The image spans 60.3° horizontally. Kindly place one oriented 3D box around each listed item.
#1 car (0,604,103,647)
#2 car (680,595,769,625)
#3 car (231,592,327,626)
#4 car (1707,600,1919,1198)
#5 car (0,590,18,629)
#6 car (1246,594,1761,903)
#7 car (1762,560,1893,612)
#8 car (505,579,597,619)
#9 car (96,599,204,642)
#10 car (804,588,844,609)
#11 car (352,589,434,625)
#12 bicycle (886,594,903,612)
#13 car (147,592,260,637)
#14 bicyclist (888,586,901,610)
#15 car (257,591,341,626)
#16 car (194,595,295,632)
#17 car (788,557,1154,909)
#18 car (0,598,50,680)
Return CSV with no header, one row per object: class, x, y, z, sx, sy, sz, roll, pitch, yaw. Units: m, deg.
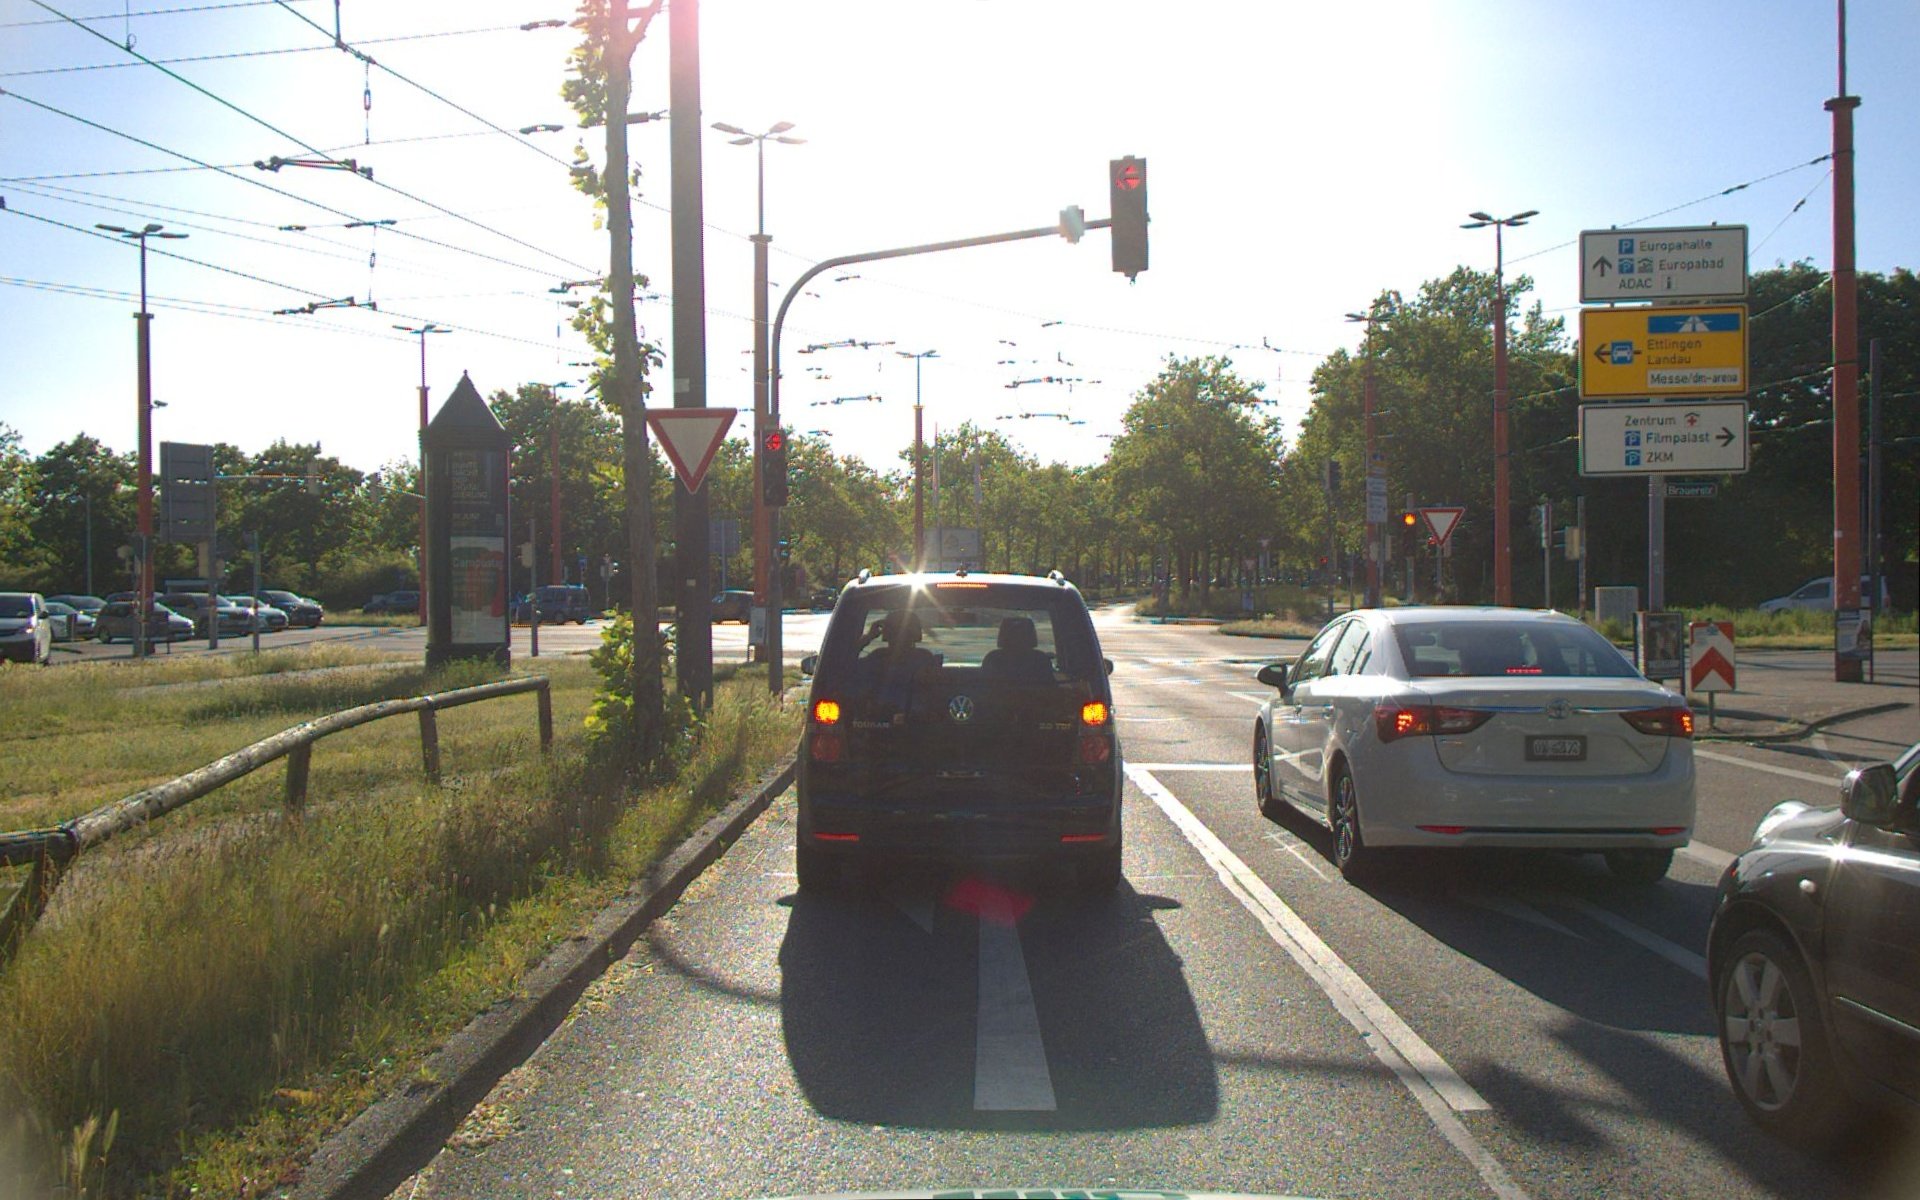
car,-34.937,0.967,63.260,4.536,1.546,1.654,0,0,30
car,-11.391,0.471,80.074,4.036,1.427,1.656,0,0,25
car,-29.467,0.370,71.556,4.060,1.440,1.542,0,0,26
car,3.135,0.743,3.493,1.544,1.465,3.441,1,0,0
car,-42.983,0.380,71.642,4.541,1.676,1.753,0,0,30
car,3.014,0.729,10.190,1.762,1.465,4.326,1,0,0
car,30.539,-0.512,58.345,4.038,1.780,1.655,0,0,26
car,-19.567,-0.059,79.072,4.036,1.822,1.798,0,0,24
car,-29.543,0.728,60.307,3.755,1.466,1.655,0,0,27
car,-9.894,-0.120,120.632,1.616,1.427,4.136,0,0,14
car,-30.214,0.363,88.150,4.037,1.822,1.797,0,0,25
bicycle,-5.313,0.221,133.881,0.955,1.413,2.981,0,0,6
car,-29.317,0.538,64.098,4.541,1.676,1.654,0,0,30
bicyclist,-5.305,-0.164,133.922,0.955,1.937,1.051,0,0,6
car,-34.969,0.430,87.487,4.036,1.822,1.798,0,0,24
car,-29.403,0.529,67.933,4.060,1.440,1.542,0,0,26
car,0.066,0.636,9.968,1.703,1.630,4.326,1,0,0
car,-23.268,0.898,40.171,1.805,1.853,4.860,0,0,-26
